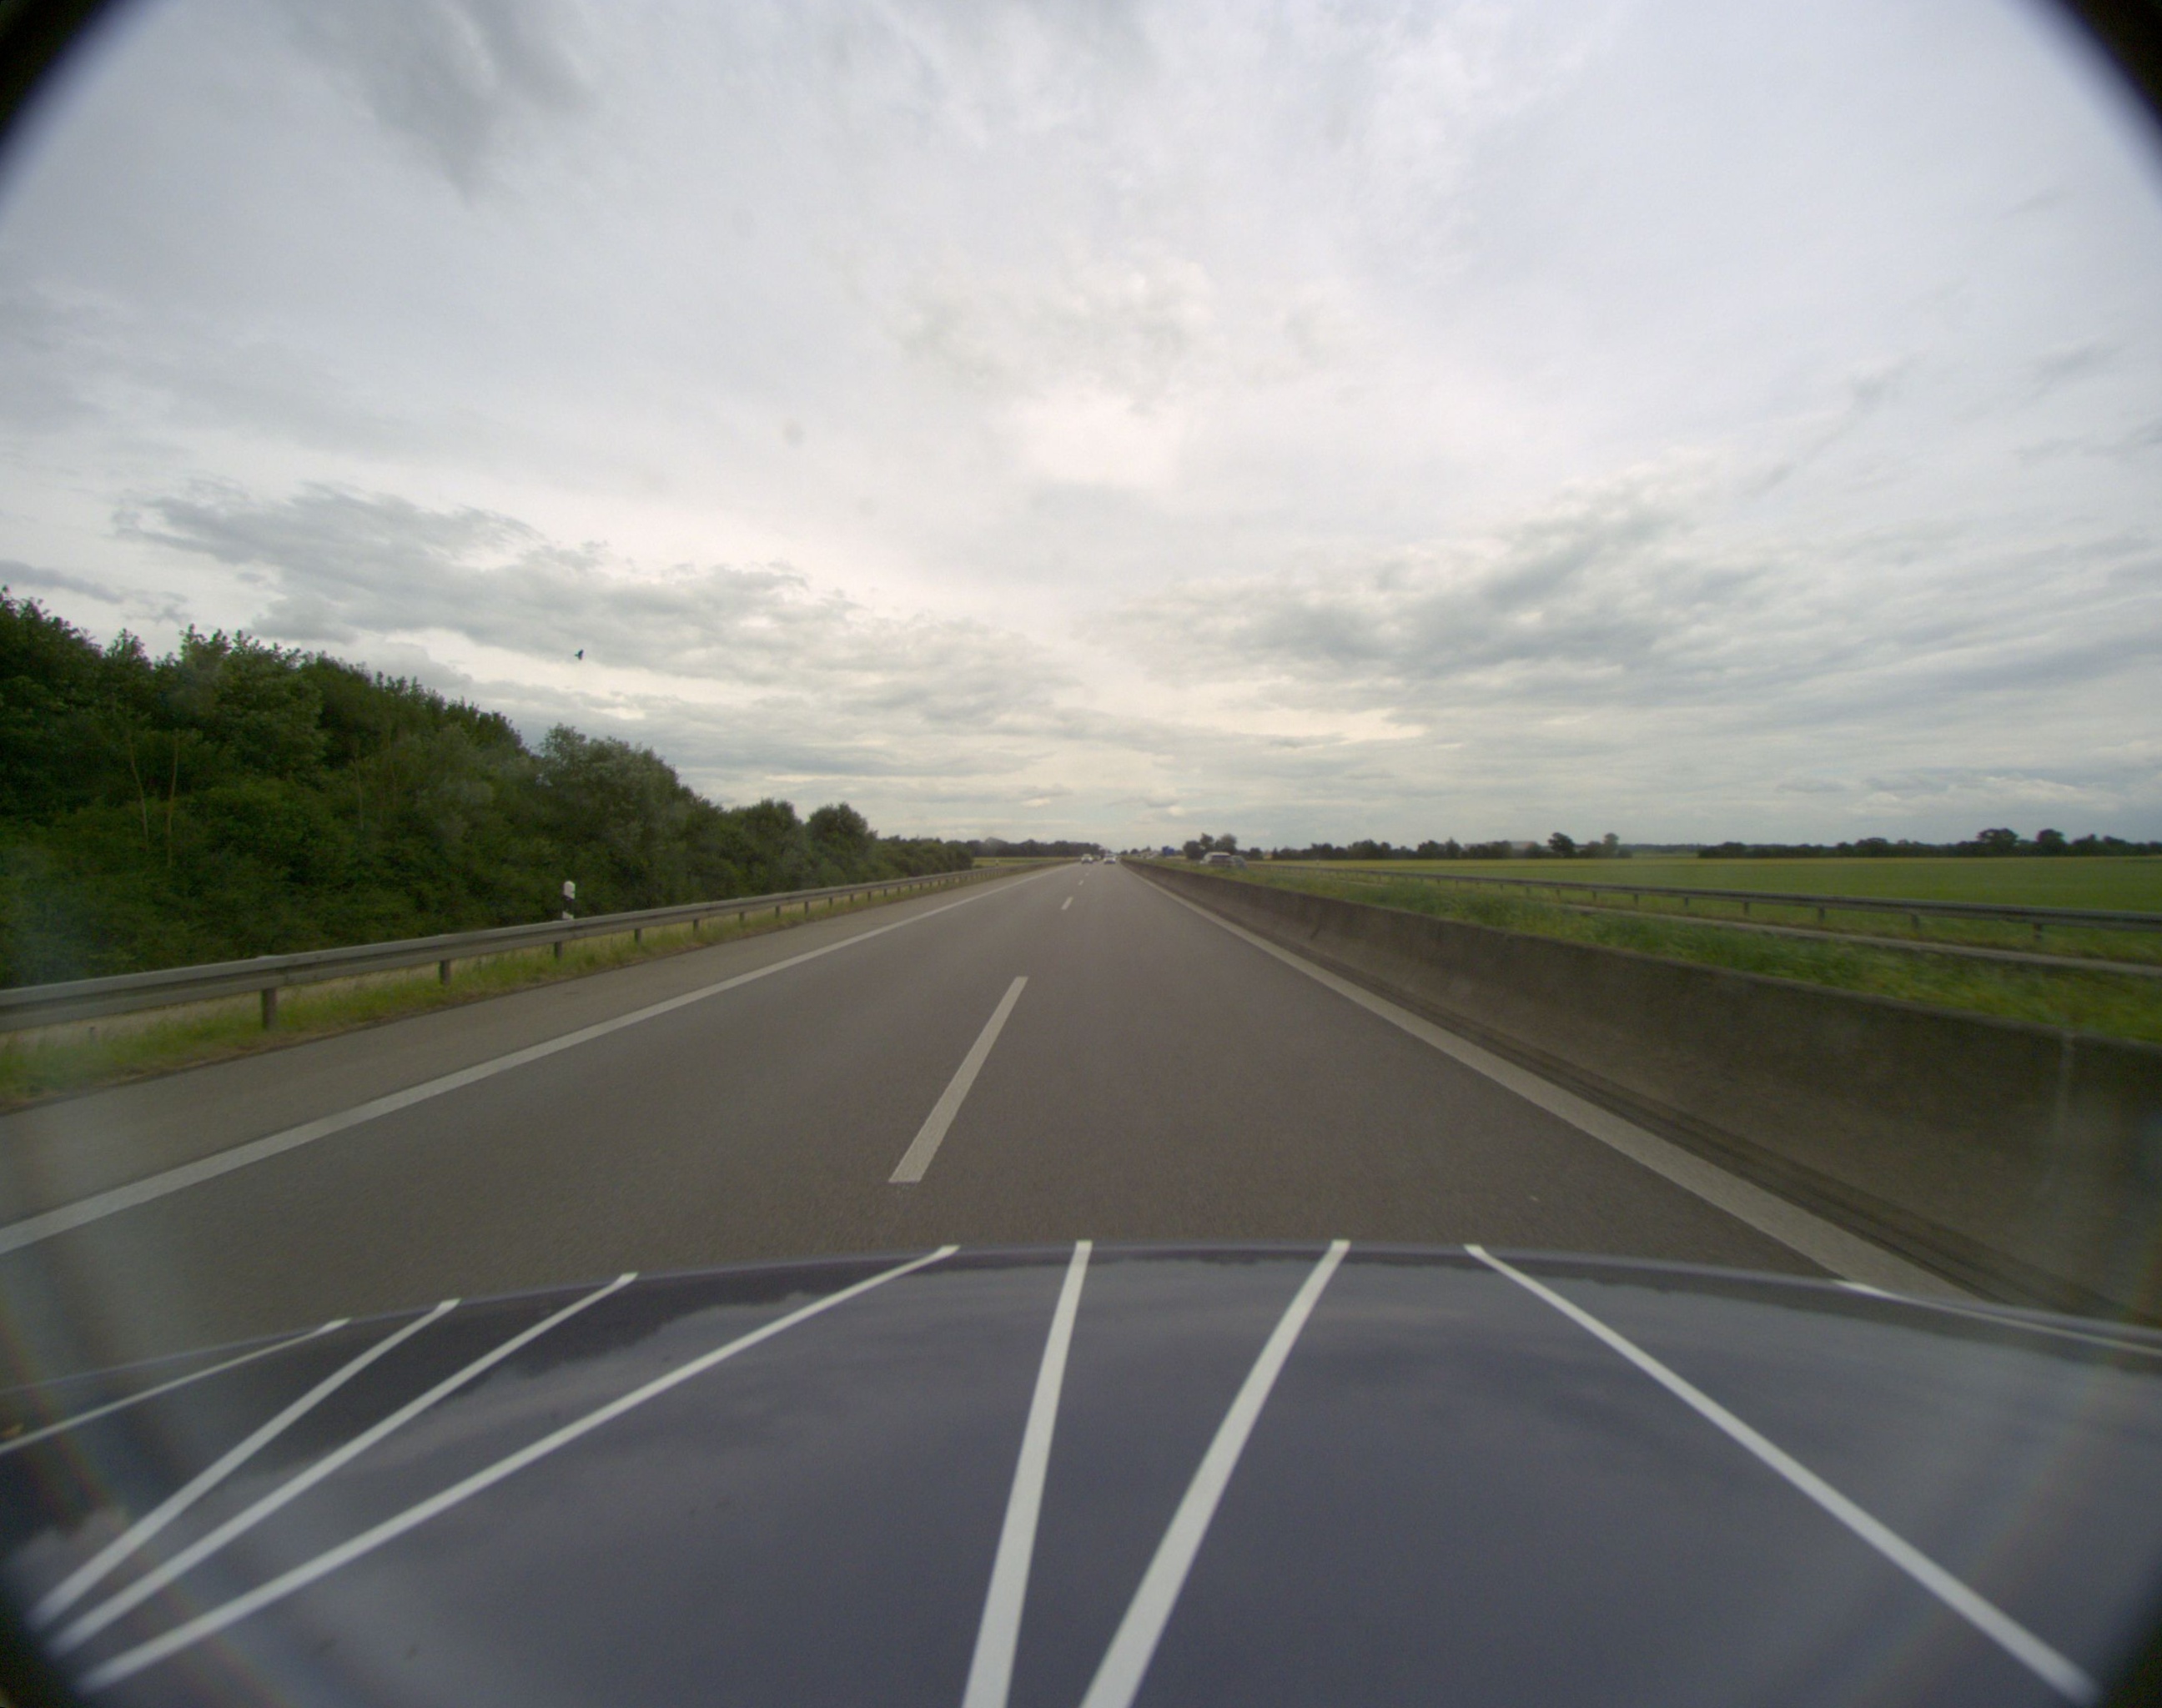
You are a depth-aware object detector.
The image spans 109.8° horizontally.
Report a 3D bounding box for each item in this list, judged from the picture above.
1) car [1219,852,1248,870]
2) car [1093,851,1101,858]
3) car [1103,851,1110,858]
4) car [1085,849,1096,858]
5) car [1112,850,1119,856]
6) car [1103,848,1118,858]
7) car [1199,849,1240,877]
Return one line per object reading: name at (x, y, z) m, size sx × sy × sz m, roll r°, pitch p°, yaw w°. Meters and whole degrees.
car at (13.473, 0.589, 67.414) m, size 1.750 × 1.479 × 4.530 m, roll 1°, pitch 0°, yaw 1°
car at (3.785, 0.114, 177.551) m, size 1.916 × 1.553 × 4.288 m, roll -1°, pitch 1°, yaw 2°
car at (8.520, 0.258, 252.420) m, size 1.915 × 2.248 × 5.314 m, roll -1°, pitch 1°, yaw 4°
car at (1.722, -0.135, 135.356) m, size 1.916 × 1.553 × 4.288 m, roll -1°, pitch 1°, yaw 2°
car at (10.794, -0.321, 236.380) m, size 1.916 × 1.553 × 4.288 m, roll -1°, pitch 1°, yaw 2°
car at (4.747, -0.110, 123.340) m, size 1.916 × 1.553 × 4.286 m, roll -1°, pitch 1°, yaw -3°
car at (8.962, 0.559, 49.513) m, size 1.845 × 1.684 × 4.358 m, roll 1°, pitch 1°, yaw 0°
